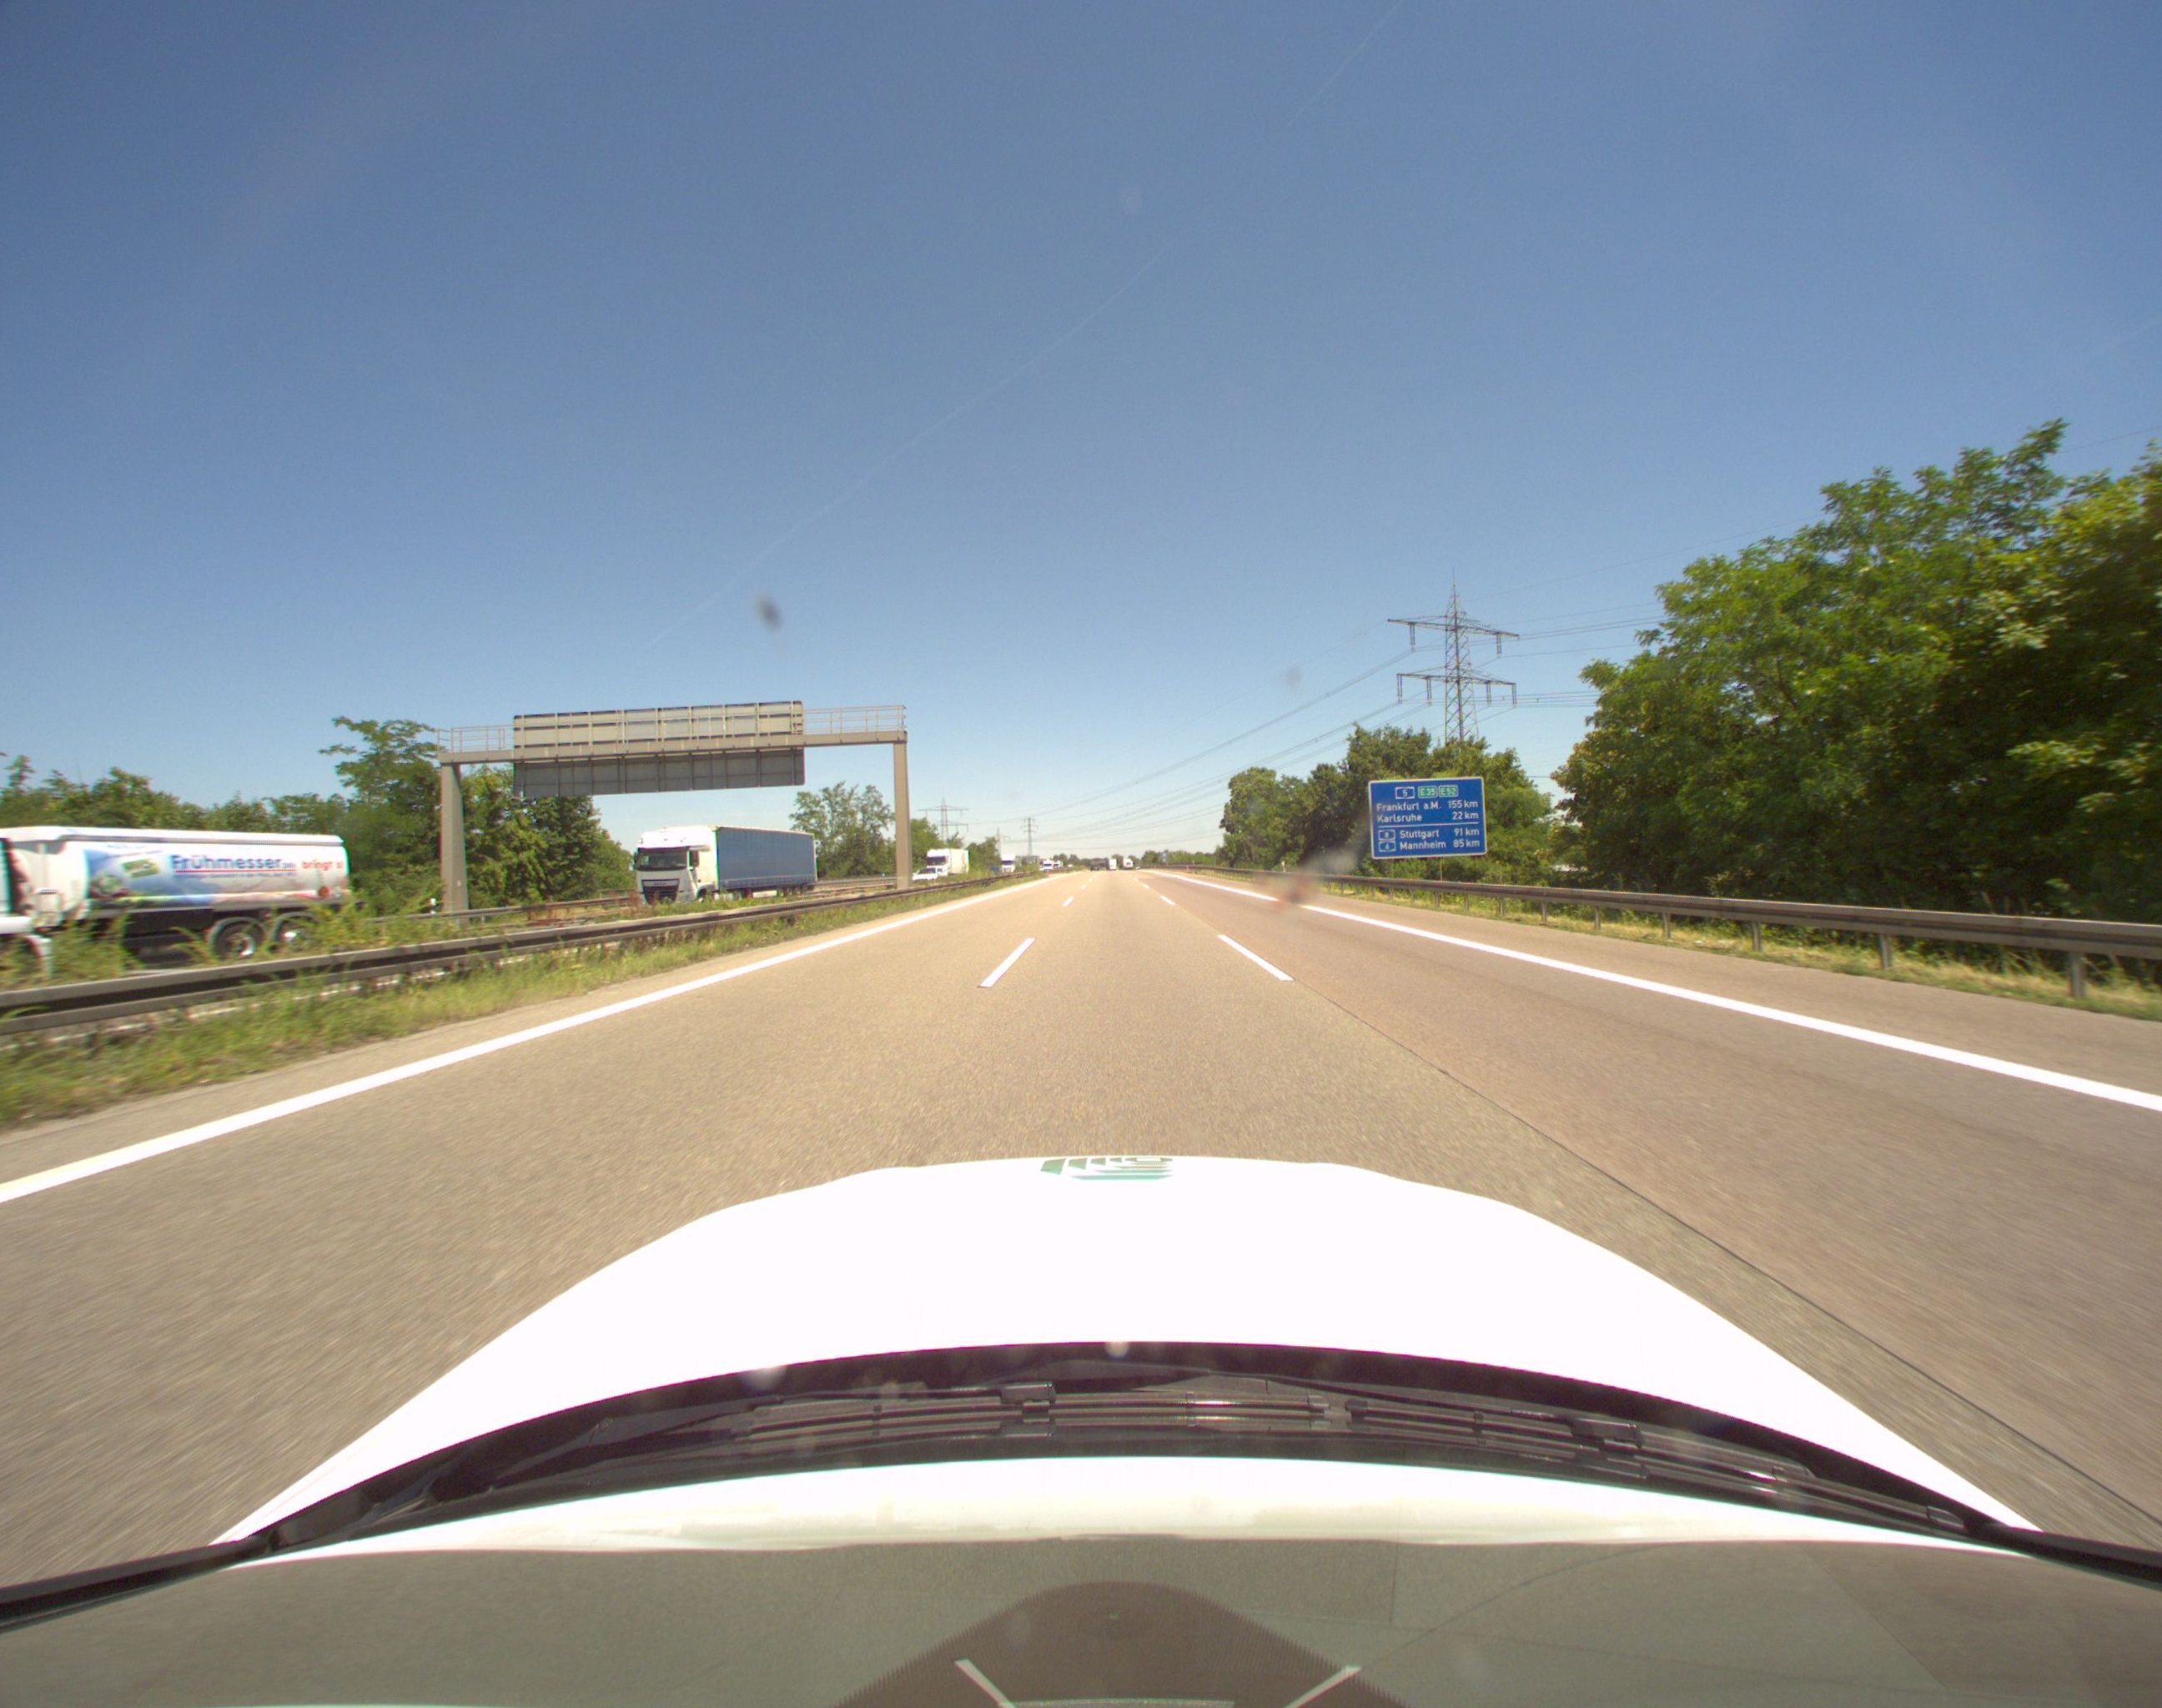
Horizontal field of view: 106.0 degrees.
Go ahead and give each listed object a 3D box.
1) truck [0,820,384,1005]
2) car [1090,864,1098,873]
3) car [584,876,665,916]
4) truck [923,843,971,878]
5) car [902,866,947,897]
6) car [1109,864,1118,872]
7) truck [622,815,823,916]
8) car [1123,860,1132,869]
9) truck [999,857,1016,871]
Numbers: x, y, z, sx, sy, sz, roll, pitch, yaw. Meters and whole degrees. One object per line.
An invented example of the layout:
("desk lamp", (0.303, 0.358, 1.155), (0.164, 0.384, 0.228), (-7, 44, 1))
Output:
("truck", (-20.048, 1.084, 17.190), (2.702, 3.208, 8.929), (-2, -1, 2))
("car", (3.063, 3.322, 187.157), (1.784, 2.013, 3.890), (-1, 0, 2))
("car", (-23.714, 2.161, 42.510), (1.925, 1.816, 3.998), (-3, 0, -1))
("truck", (-17.164, 0.807, 106.122), (2.950, 4.091, 17.031), (-2, -1, 1))
("car", (-11.090, 1.908, 58.076), (1.985, 2.014, 4.702), (-2, -1, 3))
("car", (9.120, 3.945, 226.111), (2.166, 1.929, 4.618), (-2, 0, 6))
("truck", (-18.591, 0.568, 44.697), (2.702, 4.389, 17.333), (-2, 0, 2))
("car", (10.773, 2.406, 188.567), (1.986, 2.013, 4.001), (-2, -1, 2))
("truck", (-14.316, 1.989, 160.005), (2.493, 2.464, 12.282), (-2, -1, -2))
